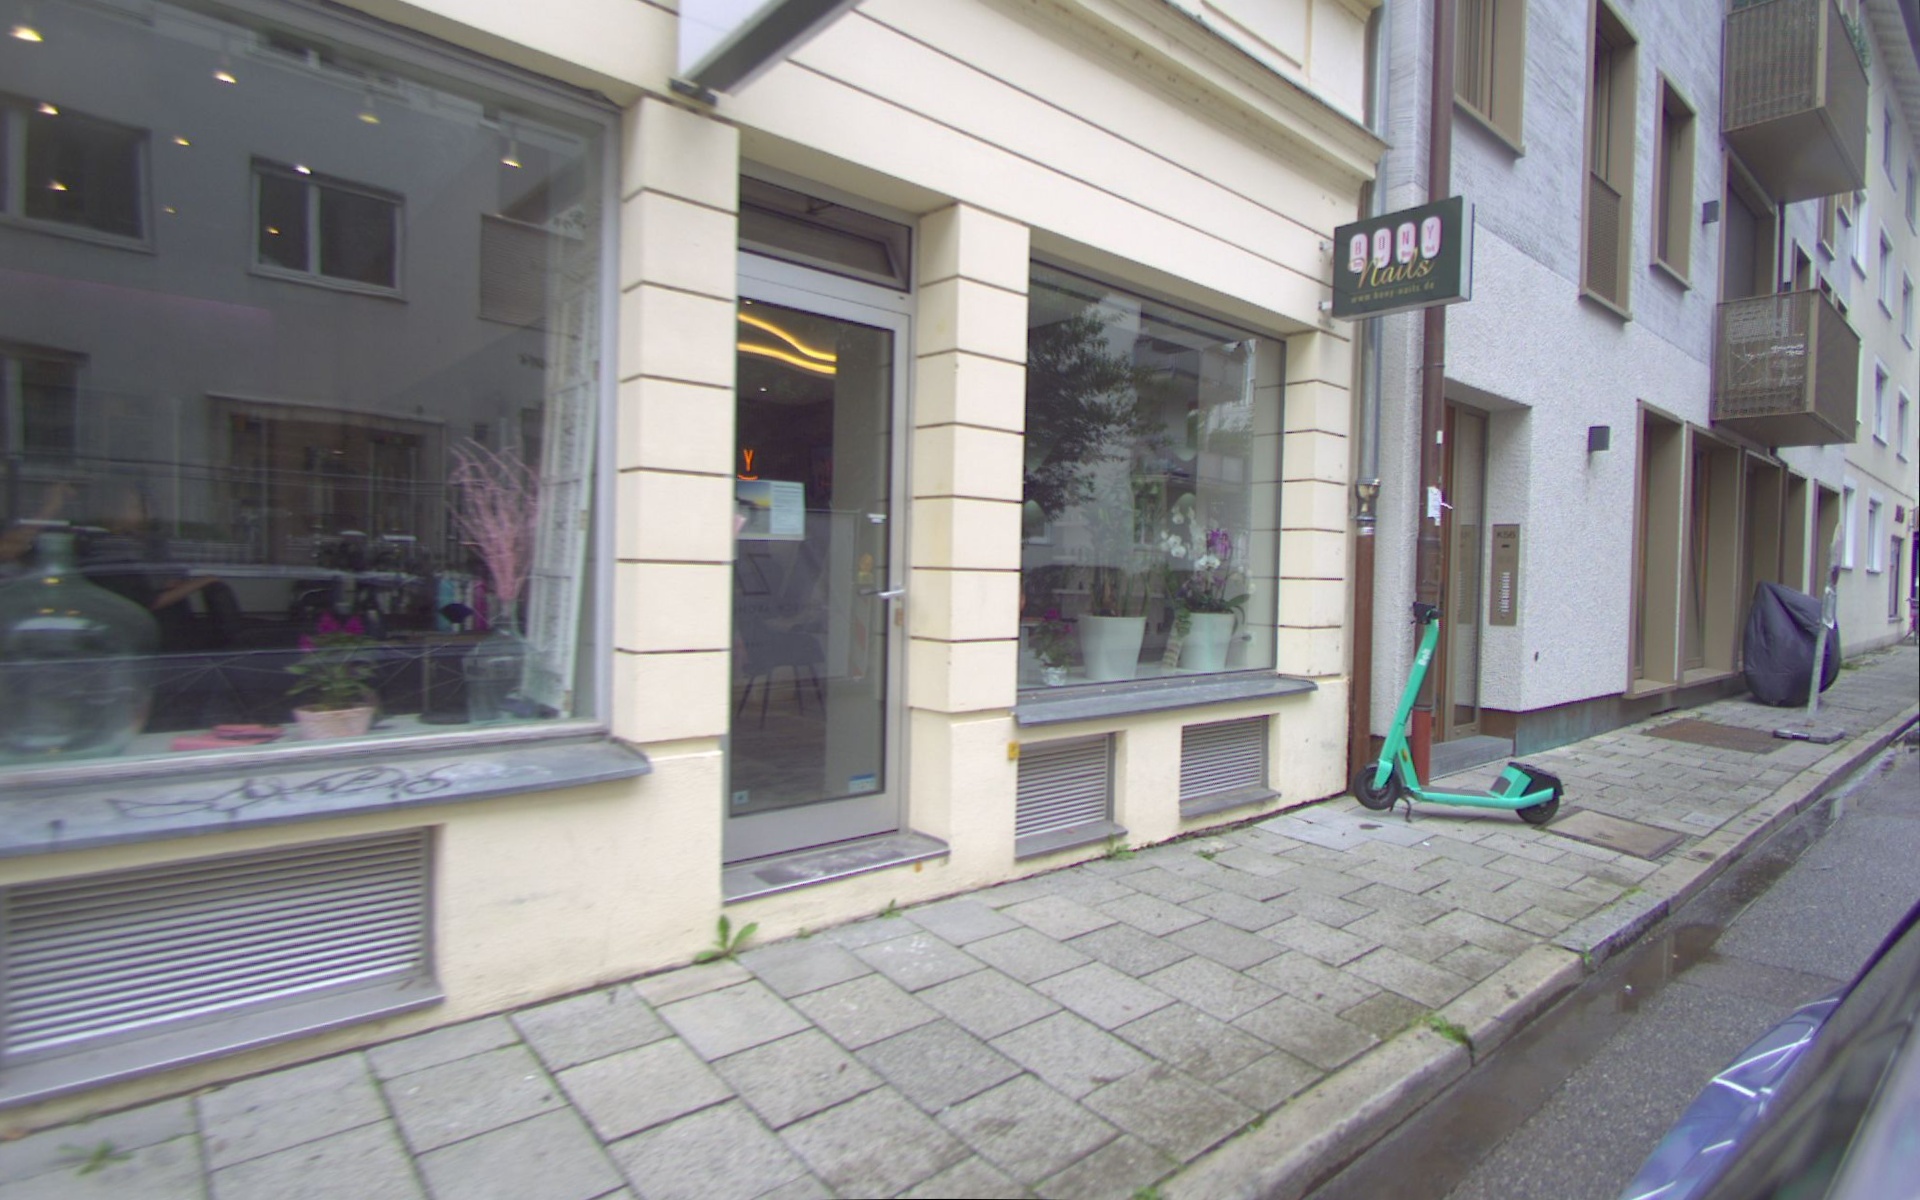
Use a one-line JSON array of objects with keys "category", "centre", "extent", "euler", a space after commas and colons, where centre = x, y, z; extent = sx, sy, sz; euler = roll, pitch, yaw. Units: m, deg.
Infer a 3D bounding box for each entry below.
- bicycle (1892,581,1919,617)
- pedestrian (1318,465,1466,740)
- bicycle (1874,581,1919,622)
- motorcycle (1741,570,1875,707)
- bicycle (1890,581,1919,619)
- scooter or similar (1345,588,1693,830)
[{"category": "bicycle", "centre": [33.908, -0.018, 35.404], "extent": [0.581, 1.244, 1.882], "euler": [0, 3, -12]}, {"category": "pedestrian", "centre": [3.304, 0.020, 7.774], "extent": [0.776, 2.037, 0.438], "euler": [2, 4, -14]}, {"category": "bicycle", "centre": [31.722, 0.048, 33.694], "extent": [1.785, 1.339, 0.583], "euler": [2, 2, 24]}, {"category": "motorcycle", "centre": [10.040, 0.405, 11.959], "extent": [1.898, 1.440, 0.807], "euler": [0, 5, -41]}, {"category": "bicycle", "centre": [32.453, 0.033, 33.915], "extent": [0.434, 1.201, 1.756], "euler": [0, 4, -35]}, {"category": "scooter or similar", "centre": [3.093, 0.585, 5.686], "extent": [1.577, 1.197, 0.495], "euler": [3, 3, 0]}]
